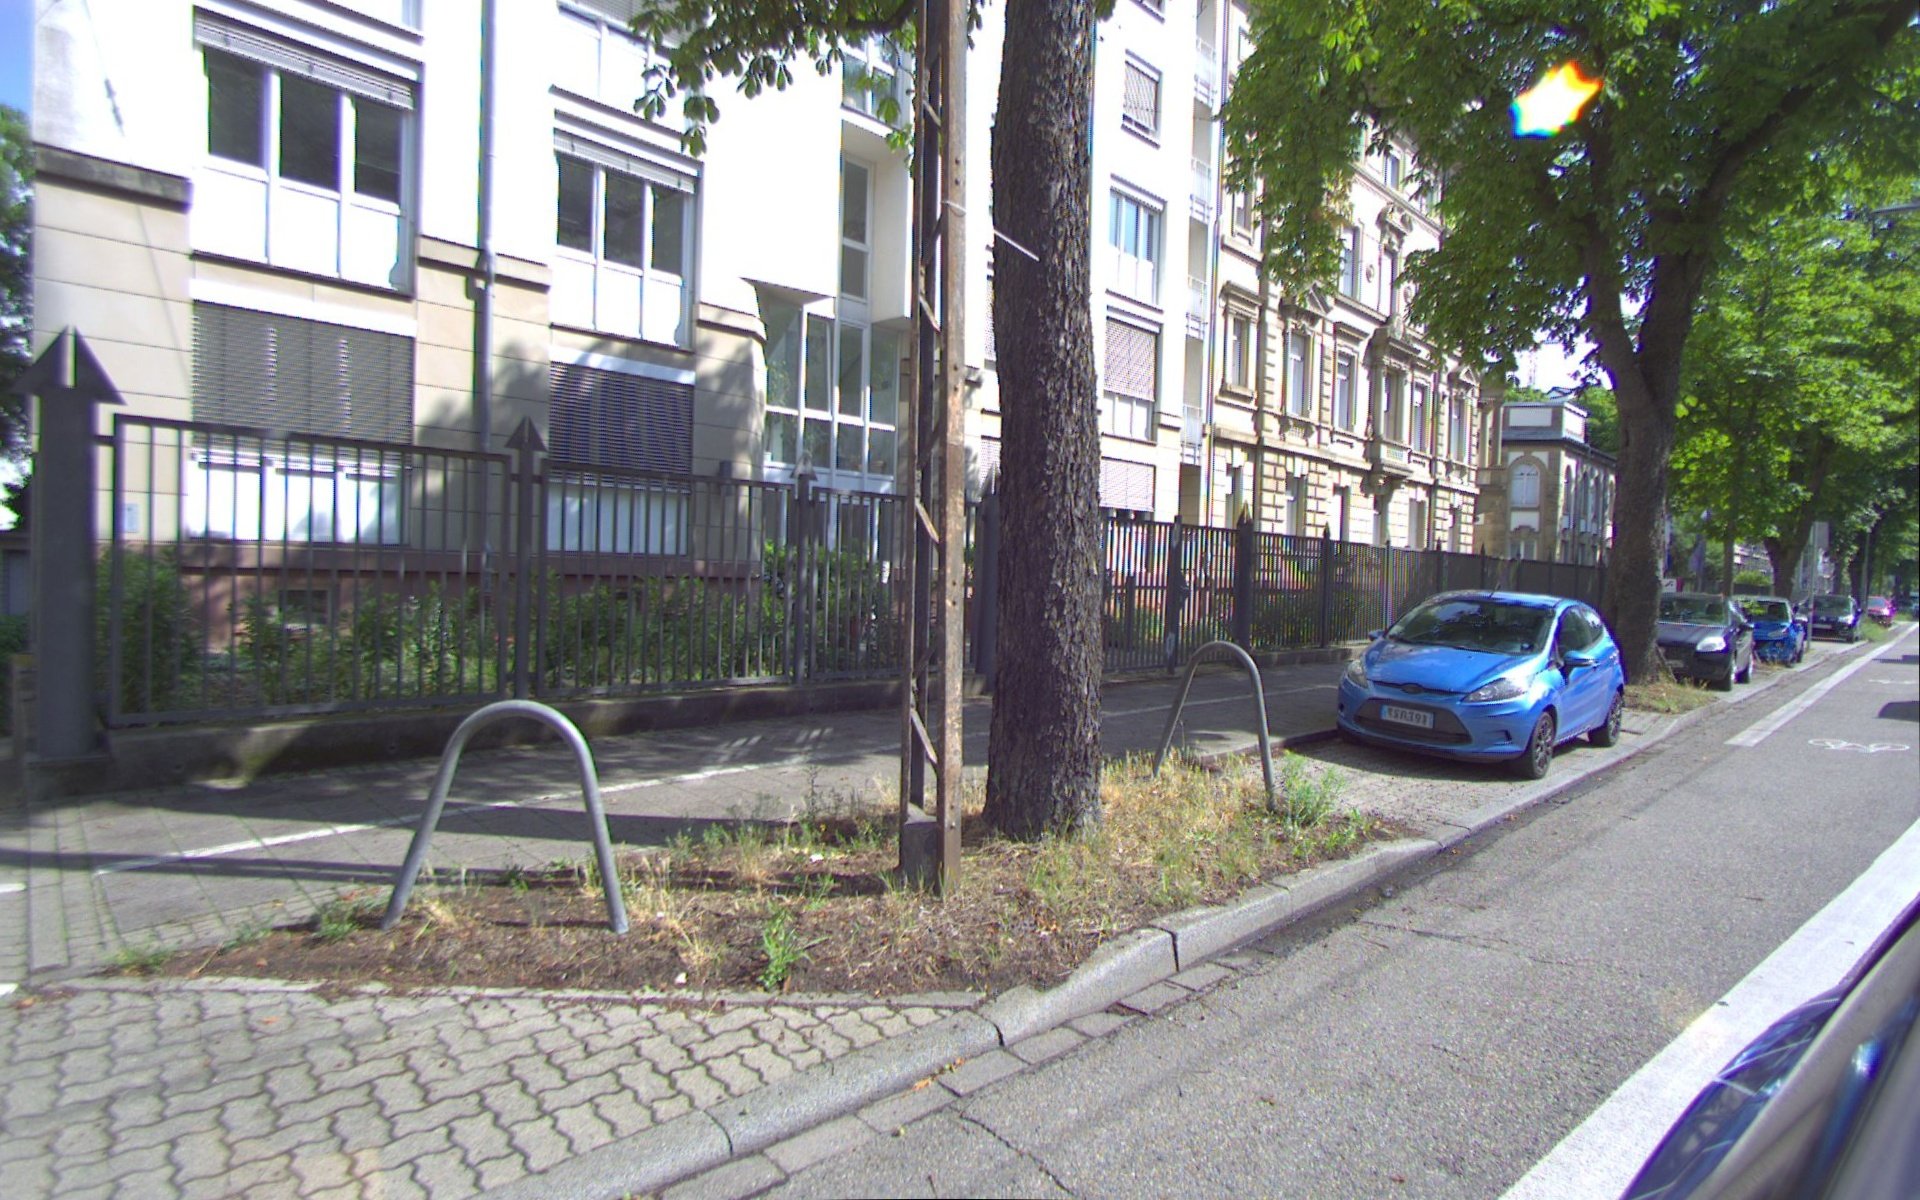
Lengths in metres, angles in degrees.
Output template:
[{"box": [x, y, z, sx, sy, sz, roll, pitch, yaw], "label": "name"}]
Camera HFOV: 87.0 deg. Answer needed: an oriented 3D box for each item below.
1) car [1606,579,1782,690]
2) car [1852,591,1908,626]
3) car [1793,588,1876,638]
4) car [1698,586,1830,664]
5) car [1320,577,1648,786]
[{"box": [12.157, 0.494, 16.689, 3.562, 1.526, 1.643, 0, 4, -43], "label": "car"}, {"box": [46.817, 0.400, 51.479, 4.130, 1.591, 1.772, 0, 4, -44], "label": "car"}, {"box": [30.828, 0.424, 35.650, 4.130, 1.549, 1.772, 0, 4, -44], "label": "car"}, {"box": [17.801, 0.487, 22.355, 3.861, 1.469, 1.722, 0, 4, -44], "label": "car"}, {"box": [5.003, 0.589, 9.443, 1.639, 1.472, 3.639, 6, 4, 45], "label": "car"}]
